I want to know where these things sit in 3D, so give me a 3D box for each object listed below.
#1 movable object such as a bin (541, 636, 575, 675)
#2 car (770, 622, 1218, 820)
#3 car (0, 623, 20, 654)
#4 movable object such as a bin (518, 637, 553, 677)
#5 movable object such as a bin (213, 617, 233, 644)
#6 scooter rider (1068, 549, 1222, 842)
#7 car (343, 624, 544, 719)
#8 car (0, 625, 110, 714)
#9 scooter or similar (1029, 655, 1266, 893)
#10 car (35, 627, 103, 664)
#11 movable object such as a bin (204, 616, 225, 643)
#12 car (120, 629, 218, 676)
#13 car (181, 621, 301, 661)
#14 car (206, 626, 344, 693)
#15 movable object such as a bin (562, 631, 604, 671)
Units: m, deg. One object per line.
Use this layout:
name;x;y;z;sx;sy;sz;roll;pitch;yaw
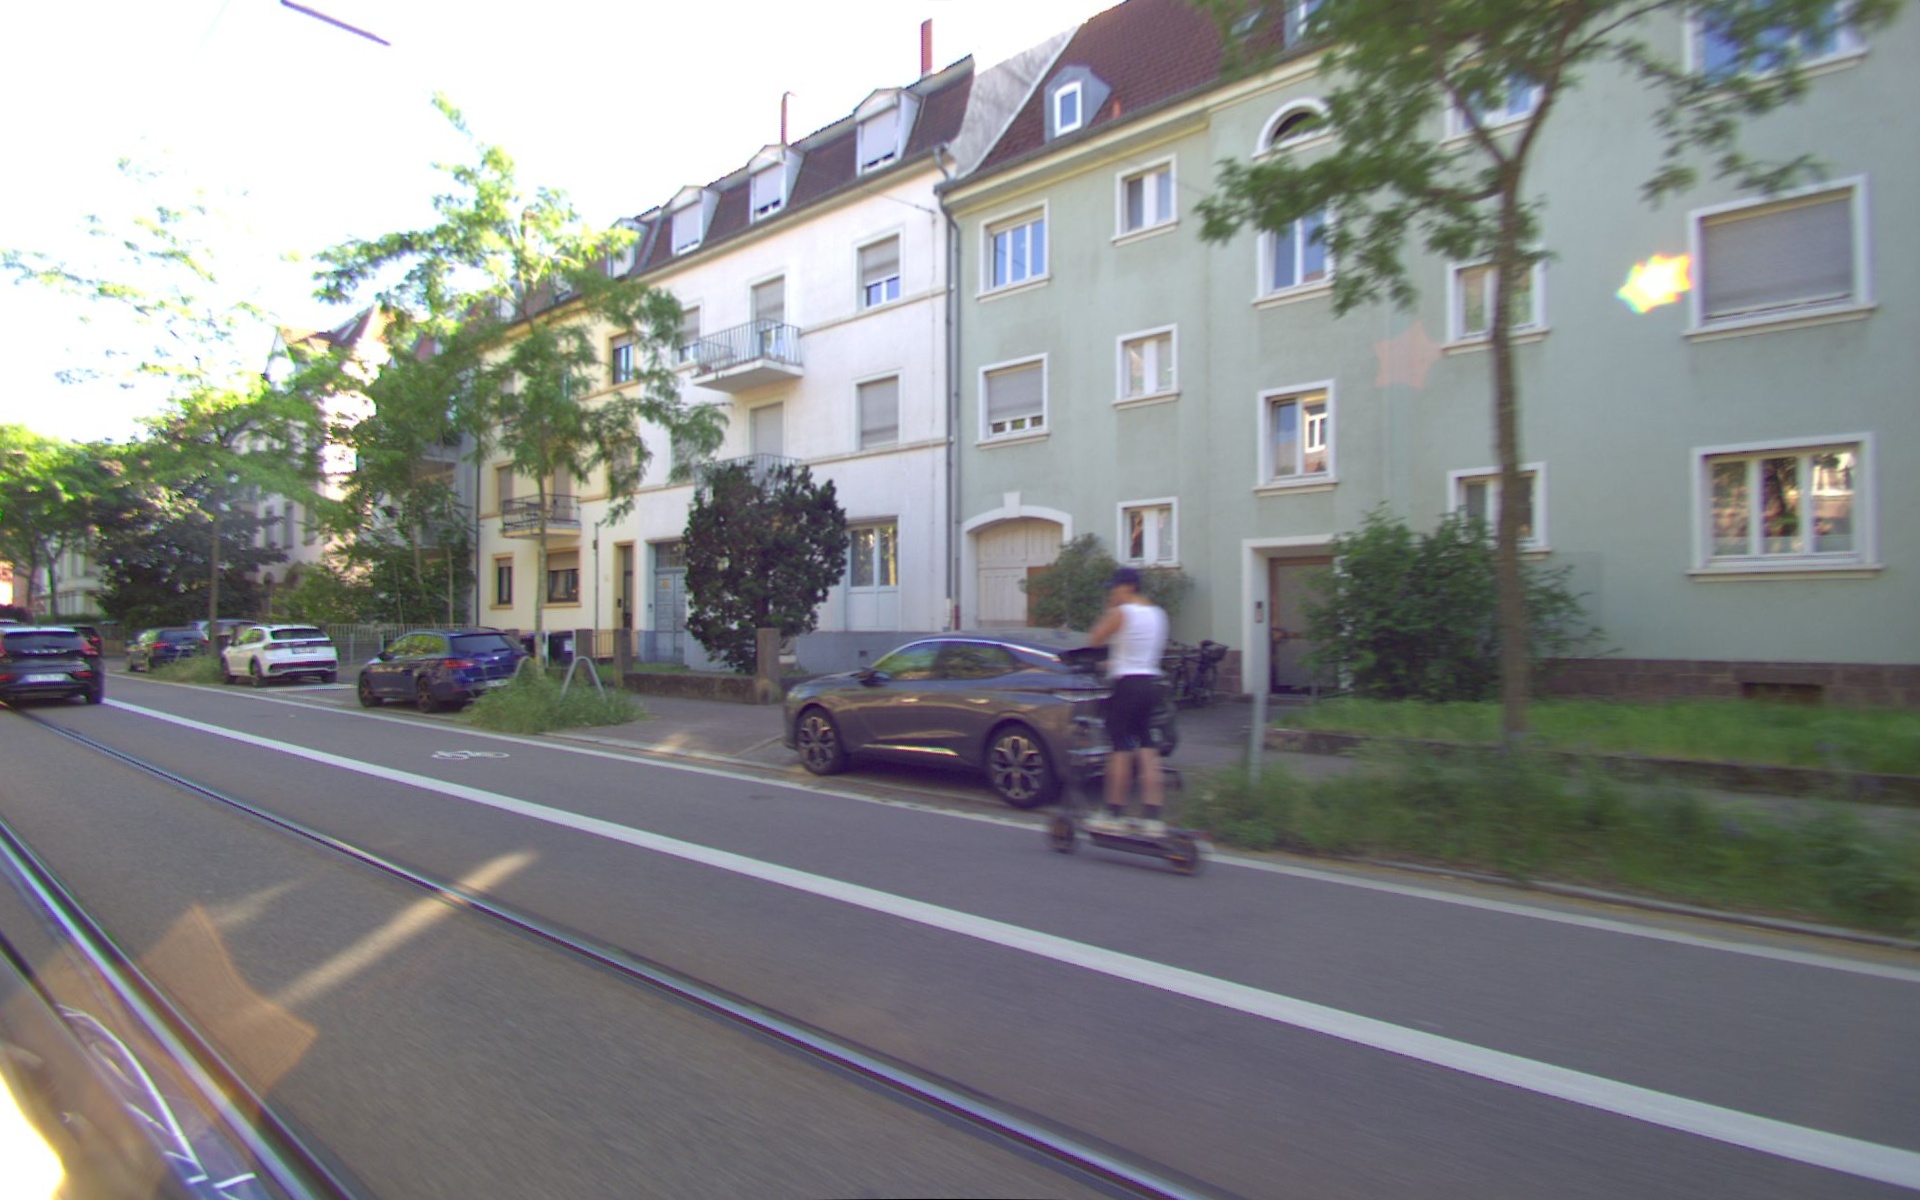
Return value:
movable object such as a bin;-10.595;1.450;26.656;0.733;0.983;0.553;-2;0;44
car;0.181;0.999;9.933;4.204;1.496;1.798;-2;-1;41
car;-59.840;2.394;62.630;4.766;1.837;1.852;-2;-1;39
movable object such as a bin;-11.015;1.473;26.255;0.733;0.983;0.553;-2;0;44
movable object such as a bin;-29.157;1.213;40.048;0.510;1.074;0.541;-2;-2;41
scooter rider;1.167;0.578;6.388;0.786;1.712;0.491;-2;-5;41
car;-9.668;1.240;18.795;4.435;1.522;1.740;-2;-1;40
car;-17.295;1.206;18.639;4.520;1.450;1.740;-1;-2;40
scooter or similar;1.151;1.018;6.356;1.377;1.307;0.515;-2;-5;41
car;-40.549;2.051;46.003;4.483;1.553;1.758;-2;-1;41
movable object such as a bin;-30.024;1.200;40.778;0.670;1.074;0.535;-2;-2;41
car;-26.016;1.672;33.248;4.330;1.417;1.688;-2;-1;40
car;-32.743;1.818;46.149;1.981;1.671;4.124;-1;-1;39
car;-17.551;1.466;25.864;4.367;1.522;1.799;-2;-1;40
movable object such as a bin;-10.431;1.402;27.969;0.733;1.054;0.835;-2;0;44
